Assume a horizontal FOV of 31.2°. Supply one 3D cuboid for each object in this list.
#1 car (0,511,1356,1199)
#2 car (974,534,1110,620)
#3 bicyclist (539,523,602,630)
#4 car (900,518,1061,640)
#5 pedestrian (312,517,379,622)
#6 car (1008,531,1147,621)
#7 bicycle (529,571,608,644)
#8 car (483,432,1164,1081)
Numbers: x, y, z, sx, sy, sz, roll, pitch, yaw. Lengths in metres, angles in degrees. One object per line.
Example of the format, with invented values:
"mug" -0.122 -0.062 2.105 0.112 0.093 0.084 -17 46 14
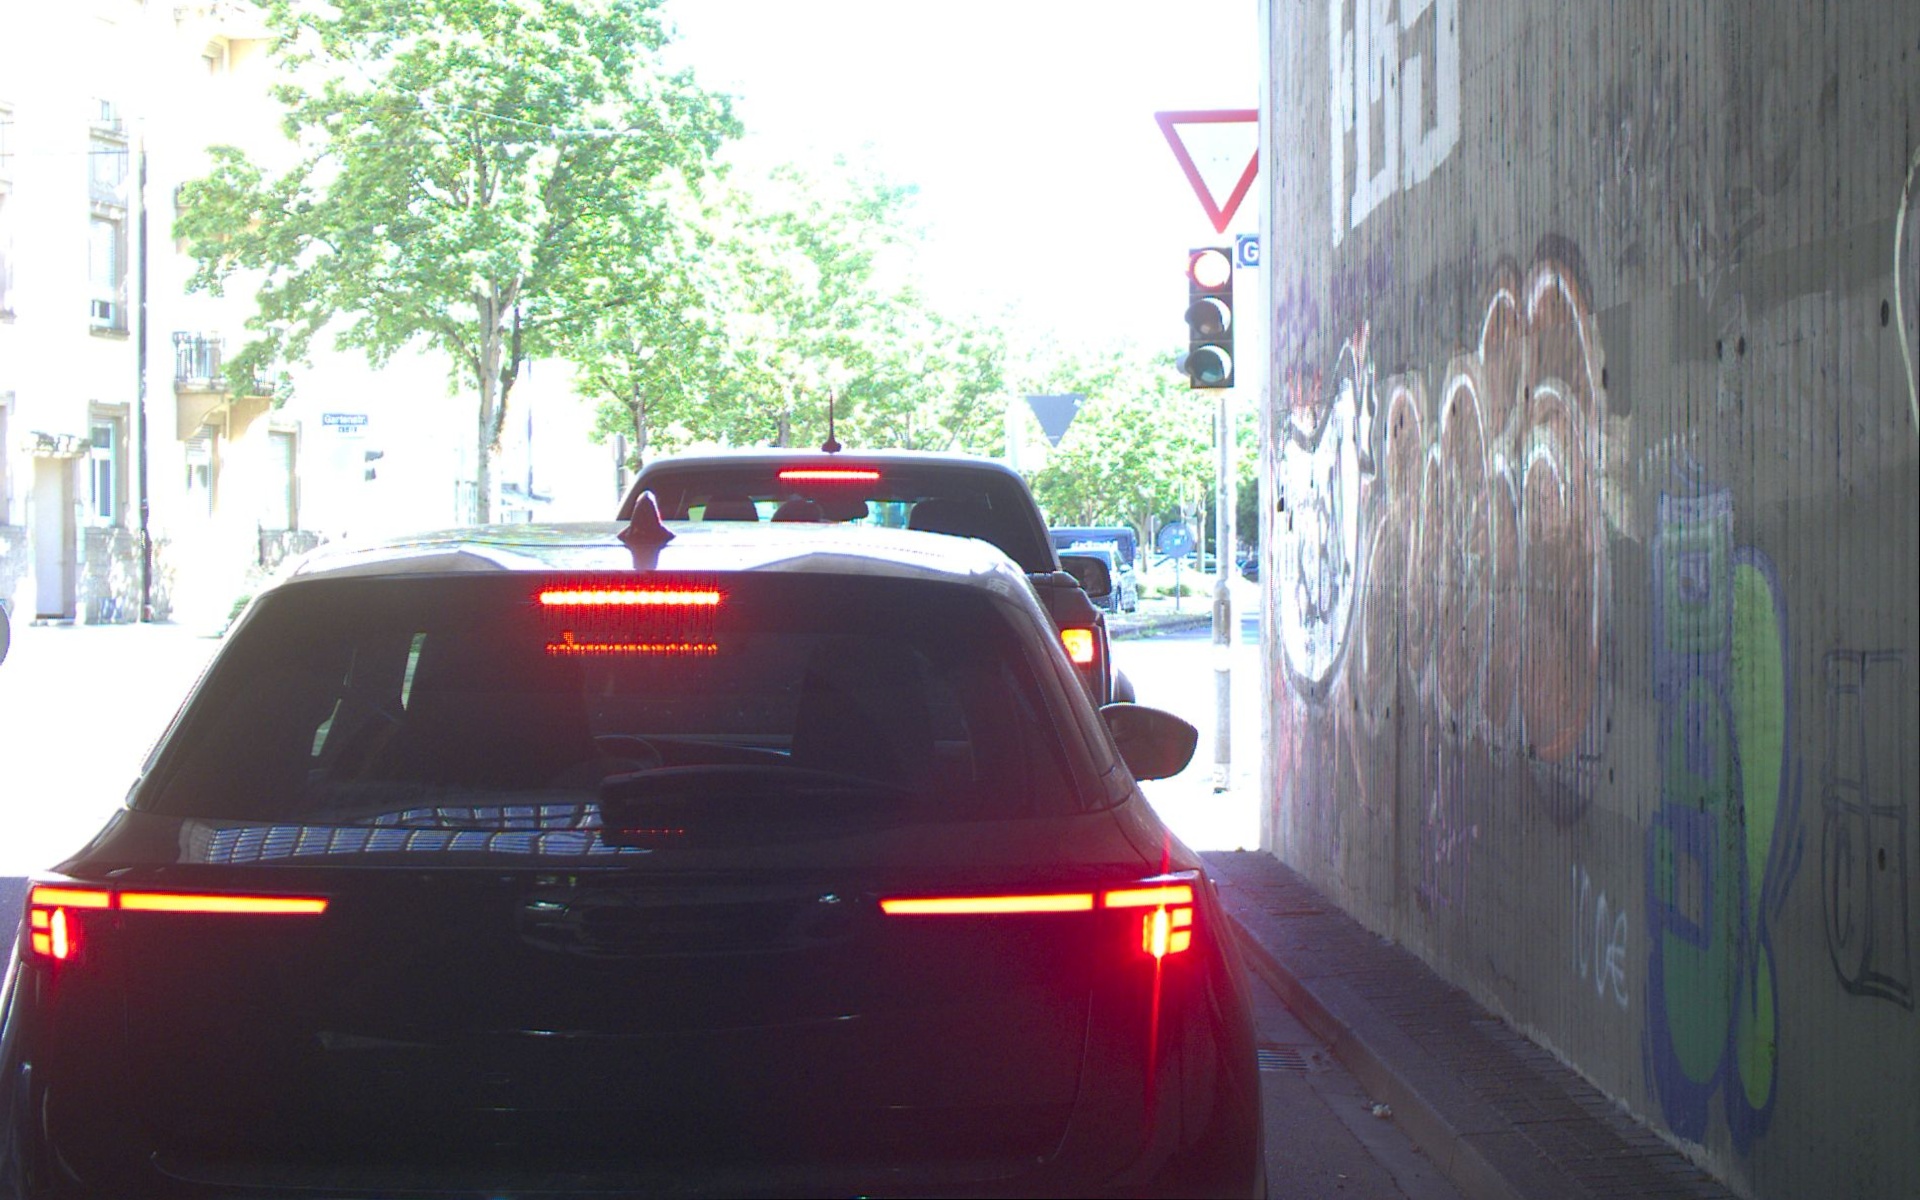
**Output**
"car" -0.494 0.630 6.056 1.882 1.532 3.964 0 1 -1
"car" 1.512 -0.390 62.181 1.969 1.492 3.895 0 -1 9
"bicyclist" -5.835 -0.357 51.528 0.729 1.576 0.814 1 0 9
"car" 0.301 -0.237 44.160 1.968 1.492 3.896 0 -1 1
"pedestrian" -11.908 -0.599 66.647 0.992 2.007 1.088 0 1 8
"car" 2.398 -0.447 68.991 2.221 1.713 4.458 0 -1 10
"bicycle" -5.853 0.099 51.502 0.732 1.064 1.688 1 1 9
"car" -0.413 0.412 11.878 1.945 1.853 3.964 0 1 -1
